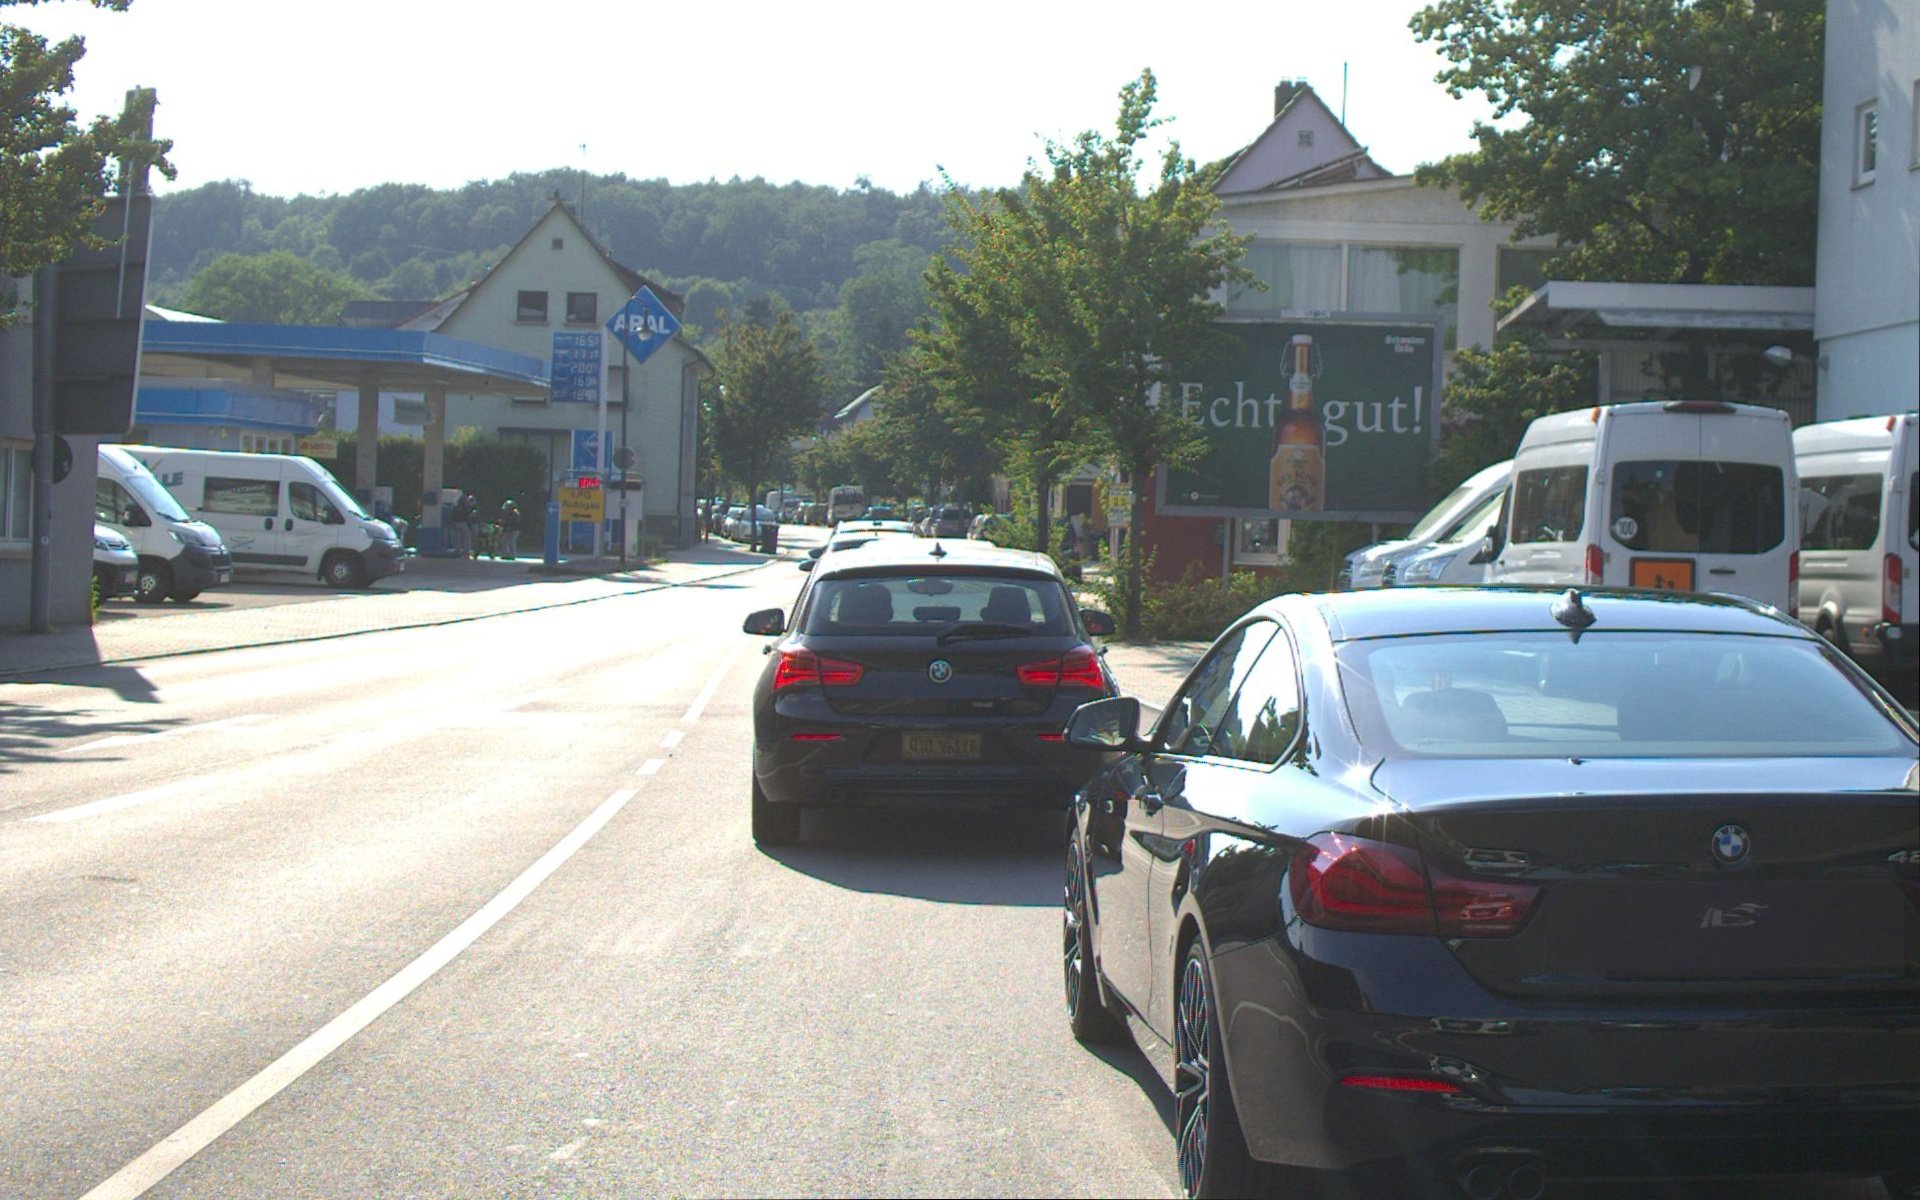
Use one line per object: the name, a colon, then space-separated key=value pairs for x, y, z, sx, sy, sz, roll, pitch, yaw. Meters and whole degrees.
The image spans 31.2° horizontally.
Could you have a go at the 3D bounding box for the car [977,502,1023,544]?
car: x=1.511 y=-2.936 z=130.871 sx=1.597 sy=1.480 sz=3.475 roll=2 pitch=2 yaw=-2

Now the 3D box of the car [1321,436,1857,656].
car: x=7.569 y=-0.668 z=41.742 sx=6.043 sy=2.507 sz=2.044 roll=1 pitch=2 yaw=-2

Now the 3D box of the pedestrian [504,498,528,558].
pedestrian: x=-12.419 y=-2.014 z=96.227 sx=0.610 sy=1.664 sz=0.442 roll=1 pitch=2 yaw=-3

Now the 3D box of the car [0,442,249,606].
car: x=-14.722 y=-1.290 z=55.514 sx=5.920 sy=2.471 sz=2.193 roll=2 pitch=2 yaw=4

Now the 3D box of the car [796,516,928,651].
car: x=-1.258 y=-0.249 z=44.115 sx=1.591 sy=1.594 sz=3.894 roll=1 pitch=2 yaw=-2

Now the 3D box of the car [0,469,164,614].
car: x=-14.269 y=-0.912 z=49.717 sx=4.976 sy=1.992 sz=1.935 roll=2 pitch=1 yaw=3

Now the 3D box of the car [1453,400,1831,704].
car: x=6.547 y=-0.533 z=33.912 sx=2.149 sy=2.671 sz=6.604 roll=1 pitch=2 yaw=-2

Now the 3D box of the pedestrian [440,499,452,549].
pedestrian: x=-14.262 y=-2.101 z=95.313 sx=0.262 sy=1.378 sz=0.288 roll=1 pitch=2 yaw=2

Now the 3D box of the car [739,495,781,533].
car: x=-8.323 y=-3.586 z=143.214 sx=1.597 sy=1.480 sz=3.475 roll=2 pitch=2 yaw=-2

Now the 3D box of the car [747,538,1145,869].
car: x=-0.043 y=0.434 z=17.216 sx=1.771 sy=1.451 sz=3.516 roll=1 pitch=1 yaw=1

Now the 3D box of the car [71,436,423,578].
car: x=-13.489 y=-1.775 z=65.306 sx=6.158 sy=2.436 sz=2.250 roll=2 pitch=2 yaw=0

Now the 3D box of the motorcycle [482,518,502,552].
motorcycle: x=-13.063 y=-1.815 z=95.888 sx=0.363 sy=0.940 sz=1.696 roll=1 pitch=2 yaw=-2

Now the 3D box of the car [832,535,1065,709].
car: x=-0.159 y=0.157 z=31.028 sx=1.753 sy=1.409 sz=3.423 roll=1 pitch=2 yaw=-6

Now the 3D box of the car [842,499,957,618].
car: x=-0.919 y=-0.680 z=53.707 sx=1.603 sy=1.761 sz=3.411 roll=1 pitch=2 yaw=2

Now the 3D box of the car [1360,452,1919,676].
car: x=7.704 y=-0.421 z=38.828 sx=6.043 sy=2.355 sz=2.044 roll=1 pitch=2 yaw=-2

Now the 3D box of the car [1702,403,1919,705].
car: x=9.263 y=-0.503 z=34.167 sx=2.111 sy=2.712 sz=6.444 roll=1 pitch=2 yaw=-2

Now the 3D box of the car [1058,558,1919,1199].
car: x=1.264 y=0.631 z=8.502 sx=1.699 sy=1.364 sz=4.263 roll=0 pitch=2 yaw=-3
